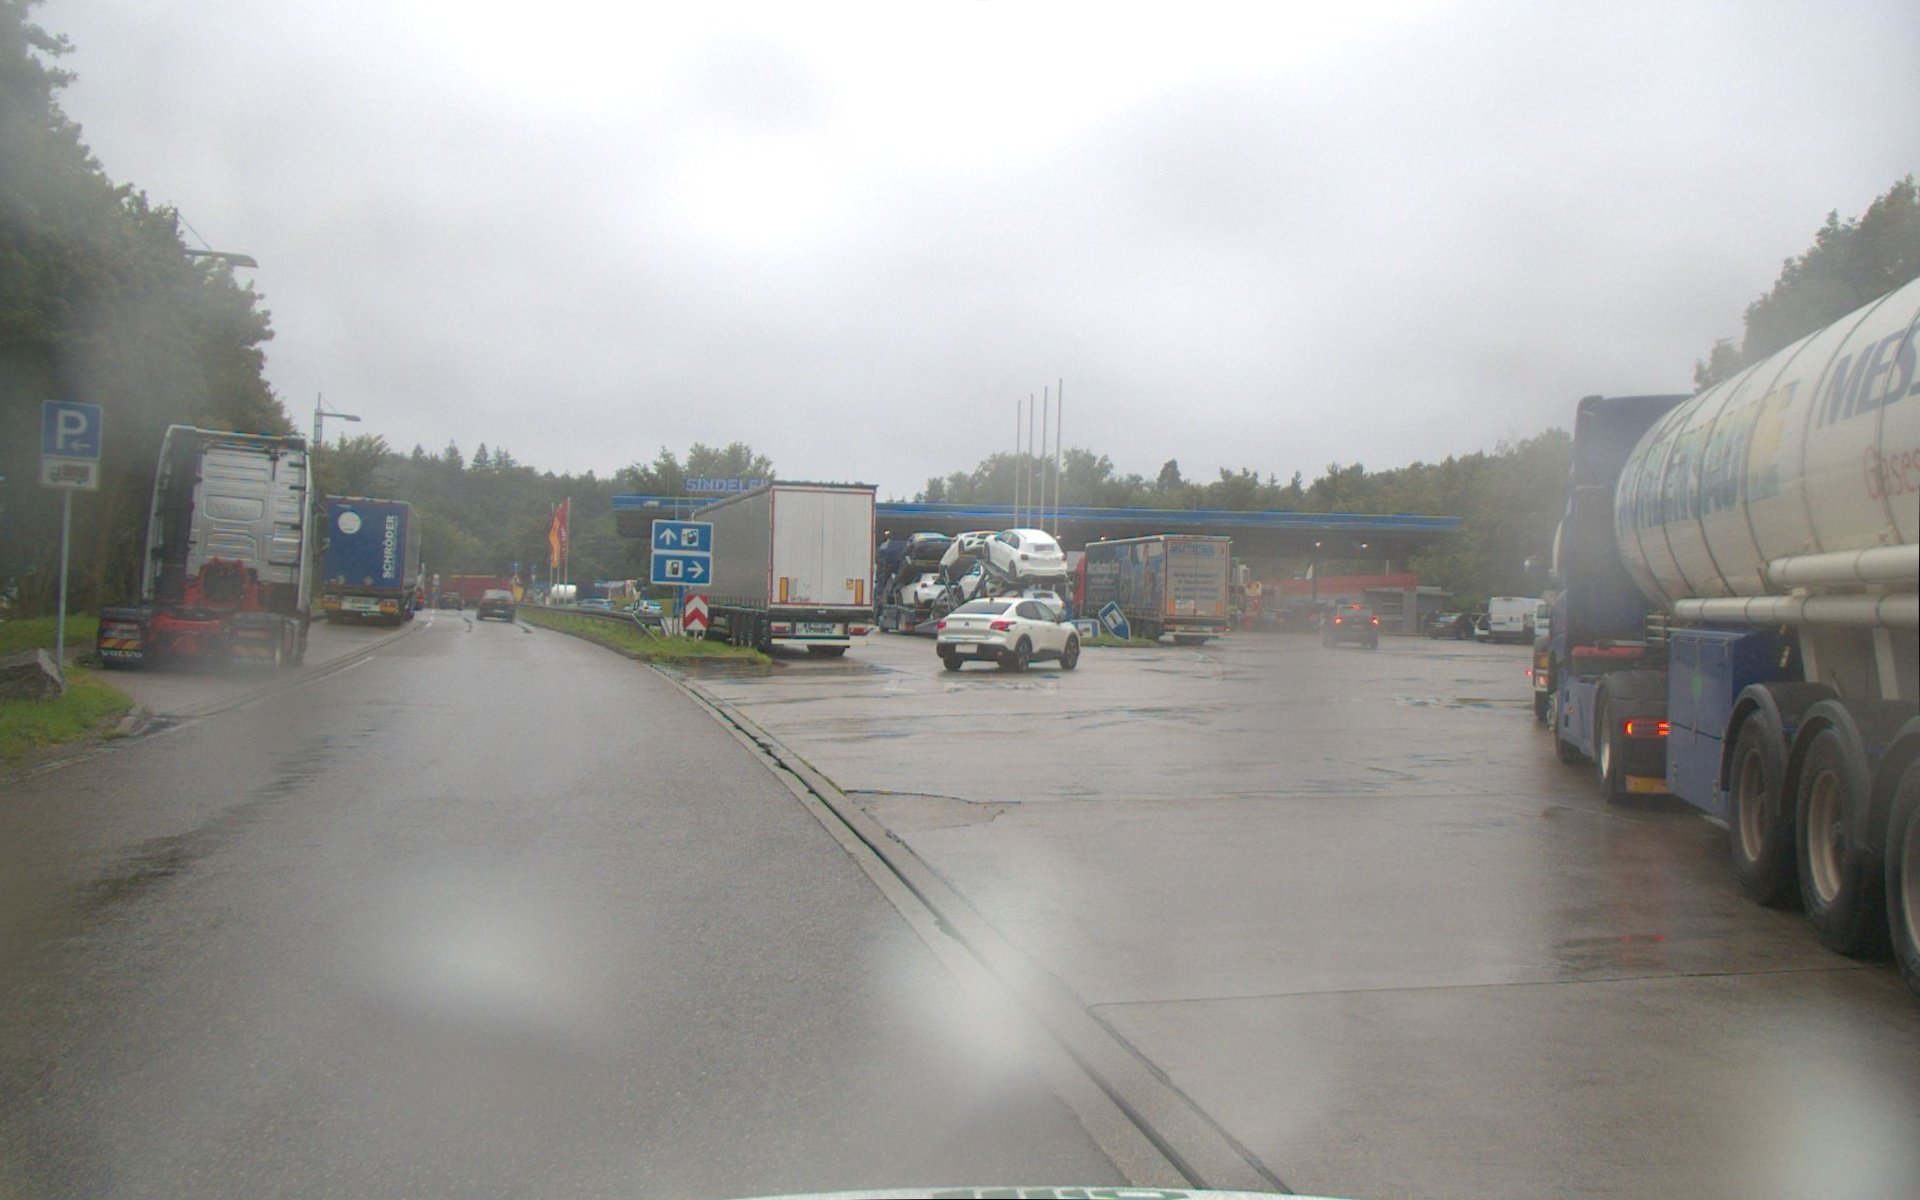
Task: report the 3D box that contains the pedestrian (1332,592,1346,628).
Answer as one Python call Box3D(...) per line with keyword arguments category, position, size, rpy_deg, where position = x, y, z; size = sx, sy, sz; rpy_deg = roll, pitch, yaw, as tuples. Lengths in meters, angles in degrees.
Box3D(category="pedestrian", position=(22.522, 0.604, 98.382), size=(0.655, 2.049, 0.743), rpy_deg=(3, -3, 17))

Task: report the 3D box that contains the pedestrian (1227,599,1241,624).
Box3D(category="pedestrian", position=(17.285, 0.726, 104.203), size=(0.703, 1.548, 0.743), rpy_deg=(3, -3, 17))

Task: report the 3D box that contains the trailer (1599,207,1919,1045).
Box3D(category="trailer", position=(5.359, 0.127, 9.090), size=(1.938, 3.281, 10.329), rpy_deg=(2, 0, 13))

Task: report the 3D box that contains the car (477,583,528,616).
Box3D(category="car", position=(-21.793, -0.016, 78.891), size=(1.844, 1.487, 3.991), rpy_deg=(3, -1, -10))

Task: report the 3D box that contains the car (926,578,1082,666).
Box3D(category="car", position=(1.001, 0.438, 34.869), size=(1.953, 1.708, 3.999), rpy_deg=(1, 0, 23))

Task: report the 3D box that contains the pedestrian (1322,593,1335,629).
Box3D(category="pedestrian", position=(22.194, 0.663, 99.547), size=(0.574, 2.049, 0.638), rpy_deg=(3, -3, 8))

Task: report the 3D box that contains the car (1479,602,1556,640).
Box3D(category="car", position=(26.983, 1.010, 80.020), size=(2.084, 1.758, 3.973), rpy_deg=(1, 0, 44))

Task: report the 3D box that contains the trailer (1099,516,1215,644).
Box3D(category="trailer", position=(7.654, -0.710, 65.698), size=(1.956, 4.639, 9.789), rpy_deg=(2, -1, -9))

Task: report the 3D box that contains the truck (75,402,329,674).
Box3D(category="truck", position=(-12.501, -0.919, 27.865), size=(2.868, 3.972, 6.288), rpy_deg=(1, 0, -16))

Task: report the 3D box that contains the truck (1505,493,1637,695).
Box3D(category="truck", position=(11.813, -0.107, 31.777), size=(2.103, 3.574, 4.644), rpy_deg=(1, 0, 23))

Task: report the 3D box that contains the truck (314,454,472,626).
Box3D(category="truck", position=(-19.981, -1.962, 58.705), size=(4.717, 5.398, 11.013), rpy_deg=(2, 0, -18))

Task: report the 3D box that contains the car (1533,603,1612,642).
Box3D(category="car", position=(28.942, 1.057, 78.116), size=(2.084, 1.758, 3.973), rpy_deg=(1, 0, 44))

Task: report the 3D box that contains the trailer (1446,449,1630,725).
Box3D(category="trailer", position=(9.378, -0.137, 26.131), size=(2.088, 3.501, 10.250), rpy_deg=(1, 0, 23))

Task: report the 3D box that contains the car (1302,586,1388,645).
Box3D(category="car", position=(14.979, 0.625, 64.518), size=(1.956, 2.049, 3.994), rpy_deg=(4, -3, -6))

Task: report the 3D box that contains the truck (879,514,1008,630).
Box3D(category="truck", position=(-0.822, -1.102, 66.924), size=(3.180, 4.261, 8.412), rpy_deg=(2, 0, -14))

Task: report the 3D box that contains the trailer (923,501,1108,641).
Box3D(category="trailer", position=(1.638, -0.964, 57.253), size=(3.162, 4.262, 11.486), rpy_deg=(2, 0, -14))

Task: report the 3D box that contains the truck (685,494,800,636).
Box3D(category="truck", position=(-6.653, -1.006, 49.744), size=(2.332, 3.942, 6.979), rpy_deg=(1, 0, -17))

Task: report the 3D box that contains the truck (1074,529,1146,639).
Box3D(category="truck", position=(6.581, -0.674, 72.900), size=(1.951, 4.629, 4.785), rpy_deg=(2, -1, -9))

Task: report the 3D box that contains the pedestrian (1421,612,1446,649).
Box3D(category="pedestrian", position=(25.419, 1.653, 88.808), size=(0.938, 1.953, 1.084), rpy_deg=(1, 0, 36))

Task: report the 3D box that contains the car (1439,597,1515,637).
Box3D(category="car", position=(26.495, 0.883, 84.699), size=(2.084, 1.970, 4.163), rpy_deg=(1, 0, 44))

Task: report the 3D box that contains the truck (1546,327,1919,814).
Box3D(category="truck", position=(6.609, -0.227, 14.742), size=(2.009, 3.593, 4.749), rpy_deg=(2, 0, 13))

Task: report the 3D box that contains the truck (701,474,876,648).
Box3D(category="truck", position=(-4.838, -0.938, 43.724), size=(2.332, 3.942, 12.398), rpy_deg=(1, 0, -16))

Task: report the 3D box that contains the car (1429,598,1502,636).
Box3D(category="car", position=(26.905, 0.902, 88.000), size=(2.084, 1.970, 4.163), rpy_deg=(1, 0, 44))
